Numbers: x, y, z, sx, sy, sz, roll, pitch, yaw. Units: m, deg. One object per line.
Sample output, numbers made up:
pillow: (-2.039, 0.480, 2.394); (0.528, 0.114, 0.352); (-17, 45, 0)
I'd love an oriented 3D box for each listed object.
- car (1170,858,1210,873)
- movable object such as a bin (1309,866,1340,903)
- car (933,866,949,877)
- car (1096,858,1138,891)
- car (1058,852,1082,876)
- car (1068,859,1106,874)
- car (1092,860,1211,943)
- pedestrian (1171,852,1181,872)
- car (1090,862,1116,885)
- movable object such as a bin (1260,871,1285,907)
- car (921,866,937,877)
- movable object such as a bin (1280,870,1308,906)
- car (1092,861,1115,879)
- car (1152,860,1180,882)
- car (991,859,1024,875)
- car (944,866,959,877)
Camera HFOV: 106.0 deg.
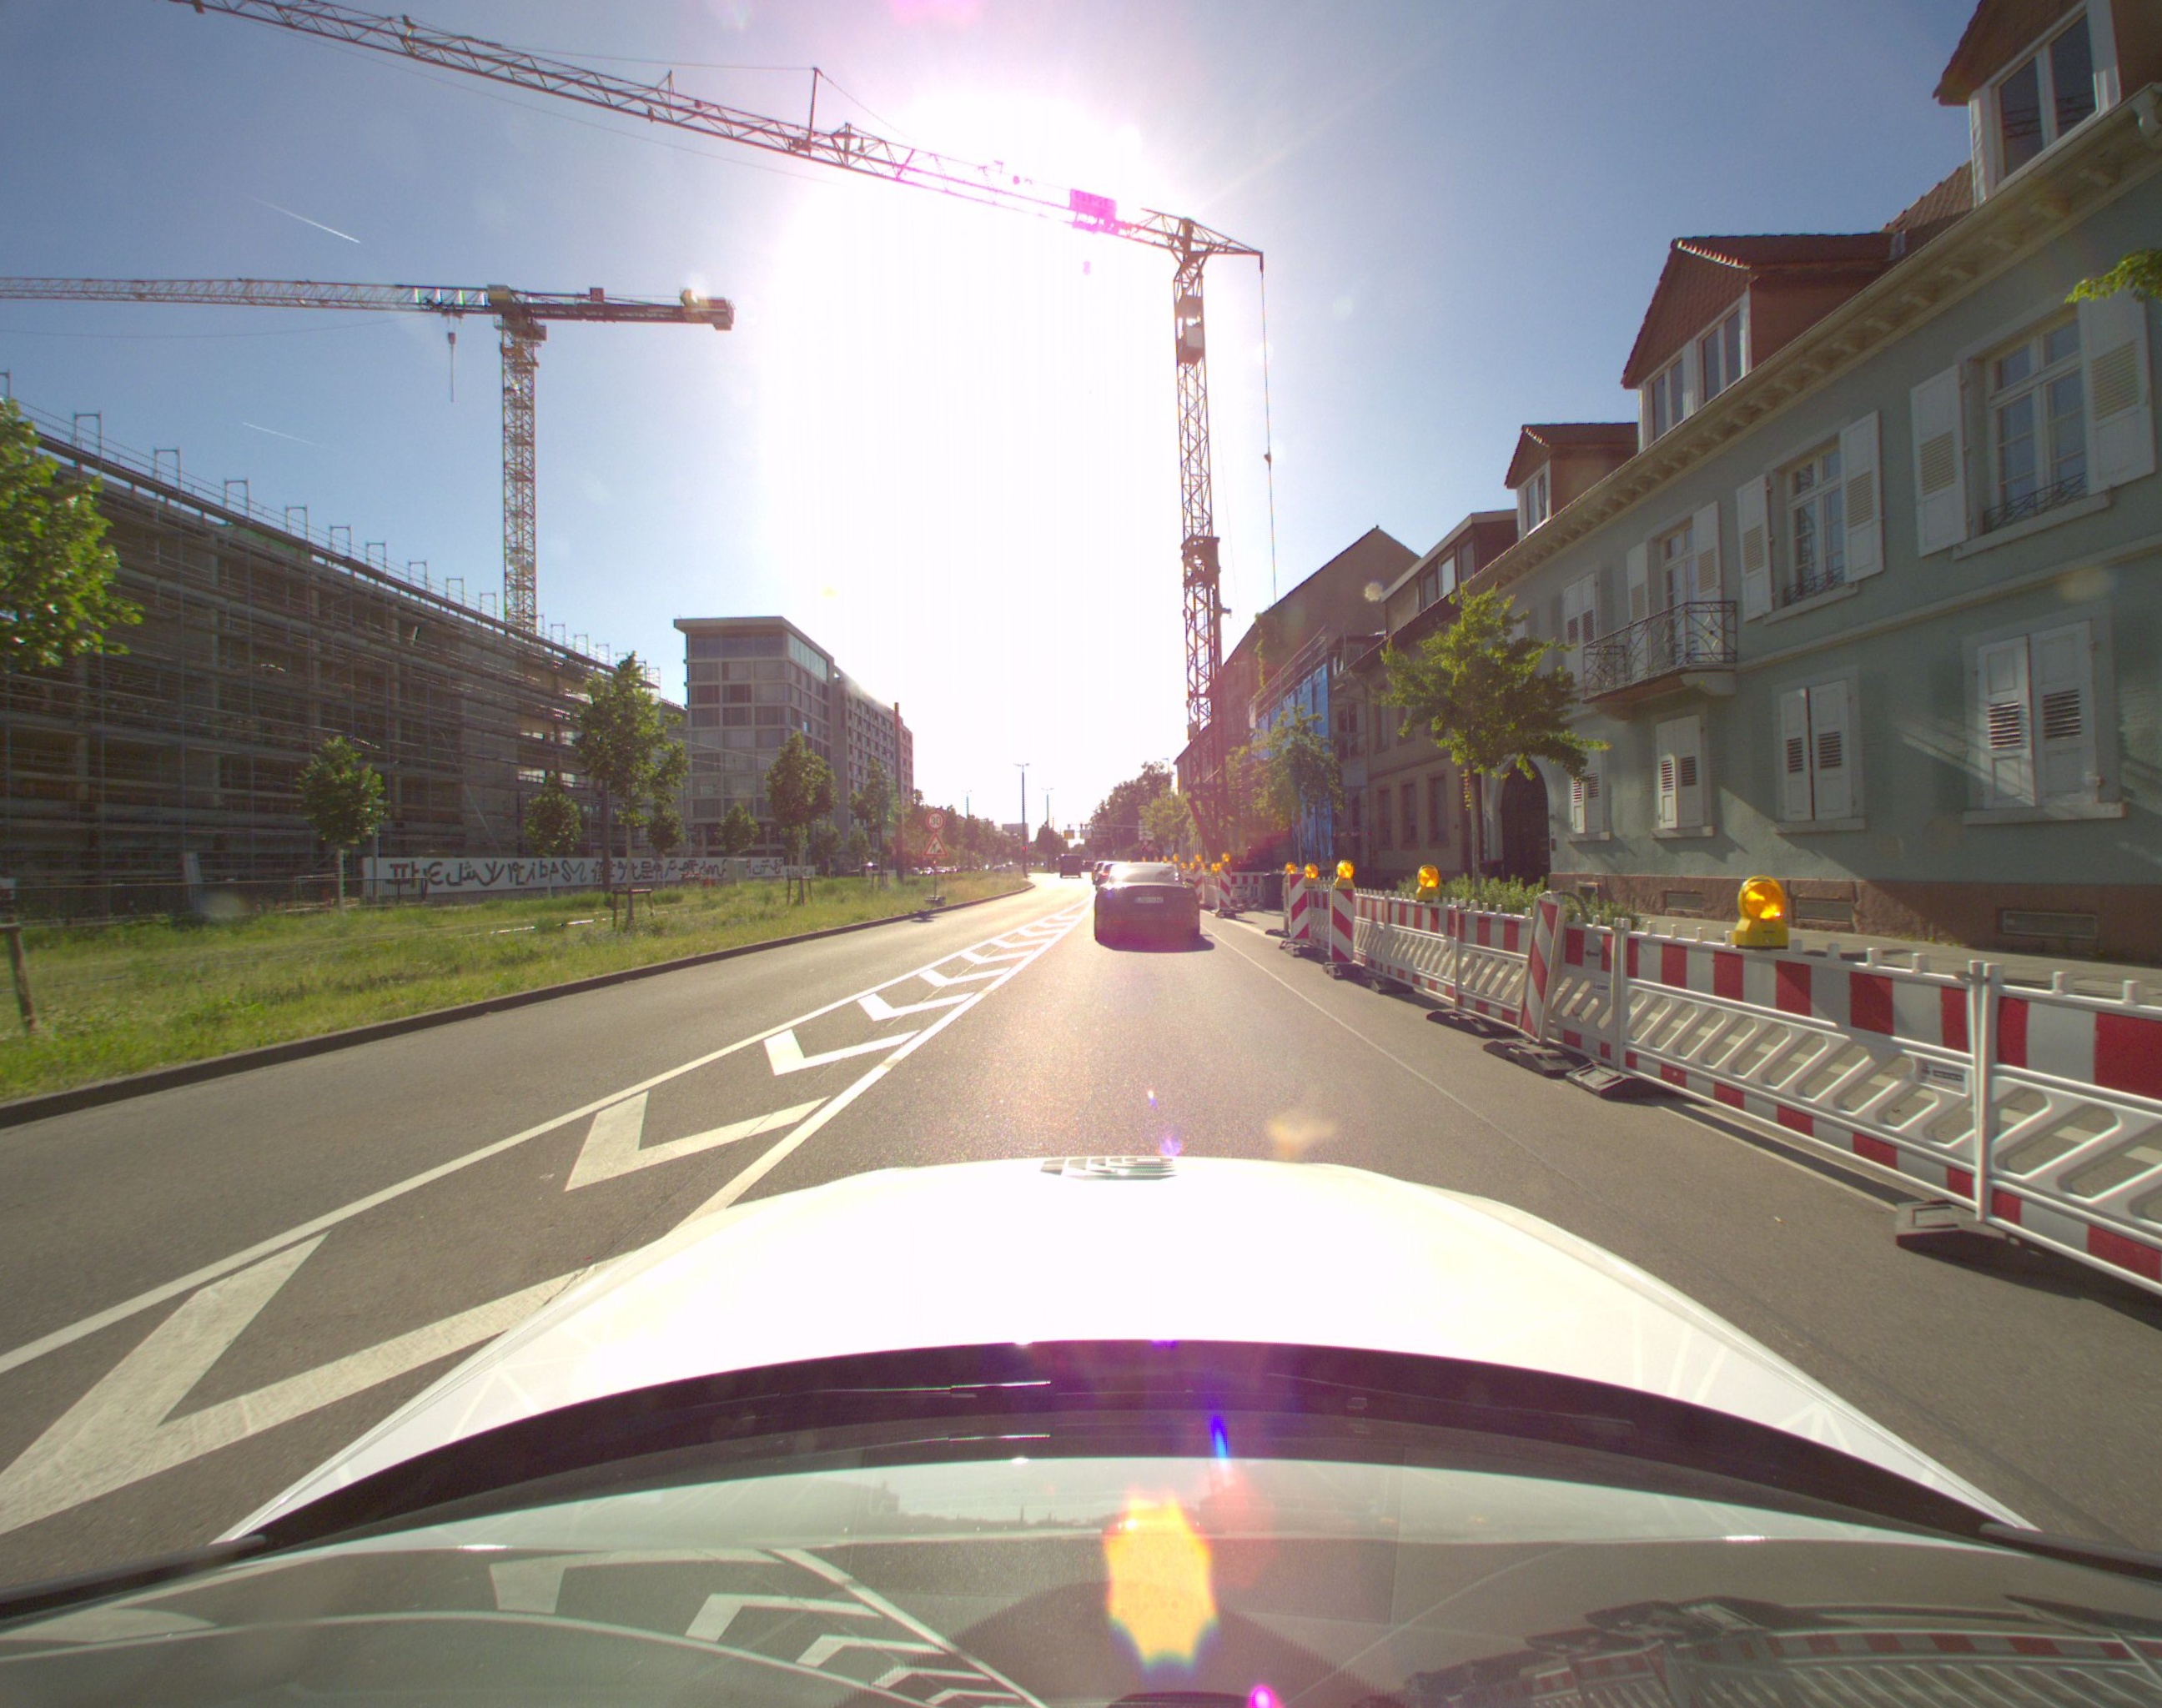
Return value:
car: (13.518, 1.413, 100.637); (4.472, 1.792, 2.011); (-2, -1, 23)
movable object such as a bin: (7.507, 0.925, 25.165); (0.587, 1.057, 0.782); (-6, 0, -4)
car: (-22.355, 2.745, 130.252); (1.784, 1.651, 4.000); (-2, -1, 1)
car: (1.641, 0.940, 38.633); (1.742, 1.427, 4.837); (-1, 0, 0)
car: (-1.052, 0.929, 78.448); (2.211, 2.267, 4.482); (0, 0, -1)
car: (0.778, 1.605, 104.438); (4.479, 1.792, 2.008); (-2, -1, 15)
car: (1.274, 0.844, 16.572); (2.045, 1.444, 4.523); (0, 0, 0)
pedestrian: (8.921, 0.749, 76.478); (0.656, 1.913, 0.587); (-5, -1, -1)
car: (1.505, 1.300, 56.204); (1.743, 1.527, 4.005); (0, 0, 1)
movable object such as a bin: (5.892, 1.076, 25.066); (0.585, 1.058, 0.730); (0, 0, 1)
car: (-24.749, 2.831, 132.531); (1.784, 1.651, 4.000); (-2, -1, 1)
movable object such as a bin: (6.600, 1.049, 25.225); (0.593, 1.058, 0.730); (-5, 0, 1)
car: (1.857, 1.358, 68.679); (1.787, 1.428, 3.847); (0, -1, -1)
car: (6.582, 1.287, 63.378); (1.642, 1.475, 4.699); (-4, 0, 0)
car: (-9.366, 1.660, 103.365); (3.972, 1.918, 1.909); (-1, -1, -9)
car: (-21.963, 2.967, 138.344); (1.784, 1.651, 4.000); (-2, -1, 1)
